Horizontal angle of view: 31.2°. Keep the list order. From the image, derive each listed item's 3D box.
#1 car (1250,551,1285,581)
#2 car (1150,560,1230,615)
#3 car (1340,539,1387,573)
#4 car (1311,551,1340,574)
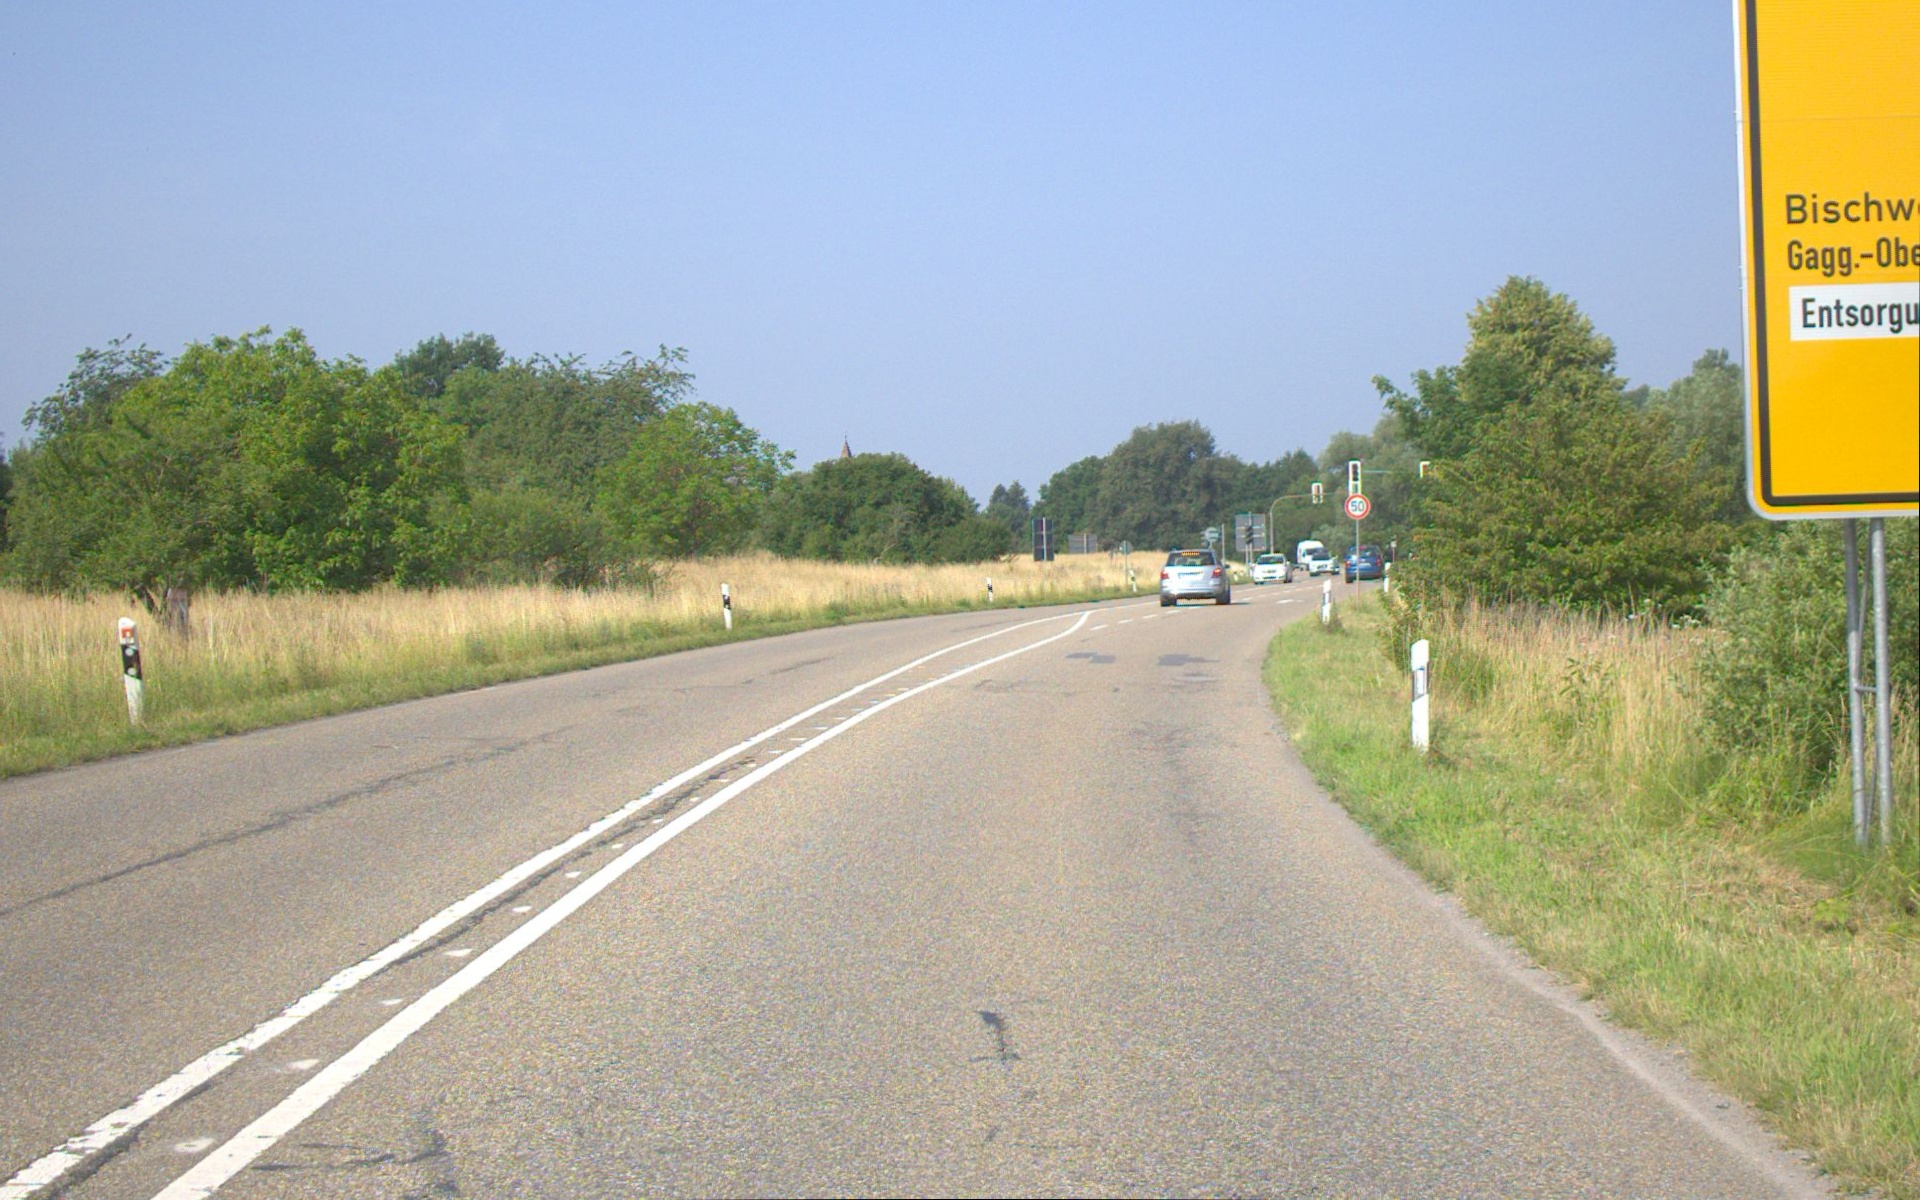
[{"bbox_3d":[16.444,-1.819,183.948,1.812,1.579,4.224,-1,0,5],"label":"car"},{"bbox_3d":[6.621,-0.362,98.724,1.900,1.506,3.998,1,1,9],"label":"car"},{"bbox_3d":[18.232,-1.997,155.244,1.817,1.515,3.998,-1,1,10],"label":"car"},{"bbox_3d":[26.614,-2.752,250.346,1.836,1.688,3.857,0,1,10],"label":"car"}]
